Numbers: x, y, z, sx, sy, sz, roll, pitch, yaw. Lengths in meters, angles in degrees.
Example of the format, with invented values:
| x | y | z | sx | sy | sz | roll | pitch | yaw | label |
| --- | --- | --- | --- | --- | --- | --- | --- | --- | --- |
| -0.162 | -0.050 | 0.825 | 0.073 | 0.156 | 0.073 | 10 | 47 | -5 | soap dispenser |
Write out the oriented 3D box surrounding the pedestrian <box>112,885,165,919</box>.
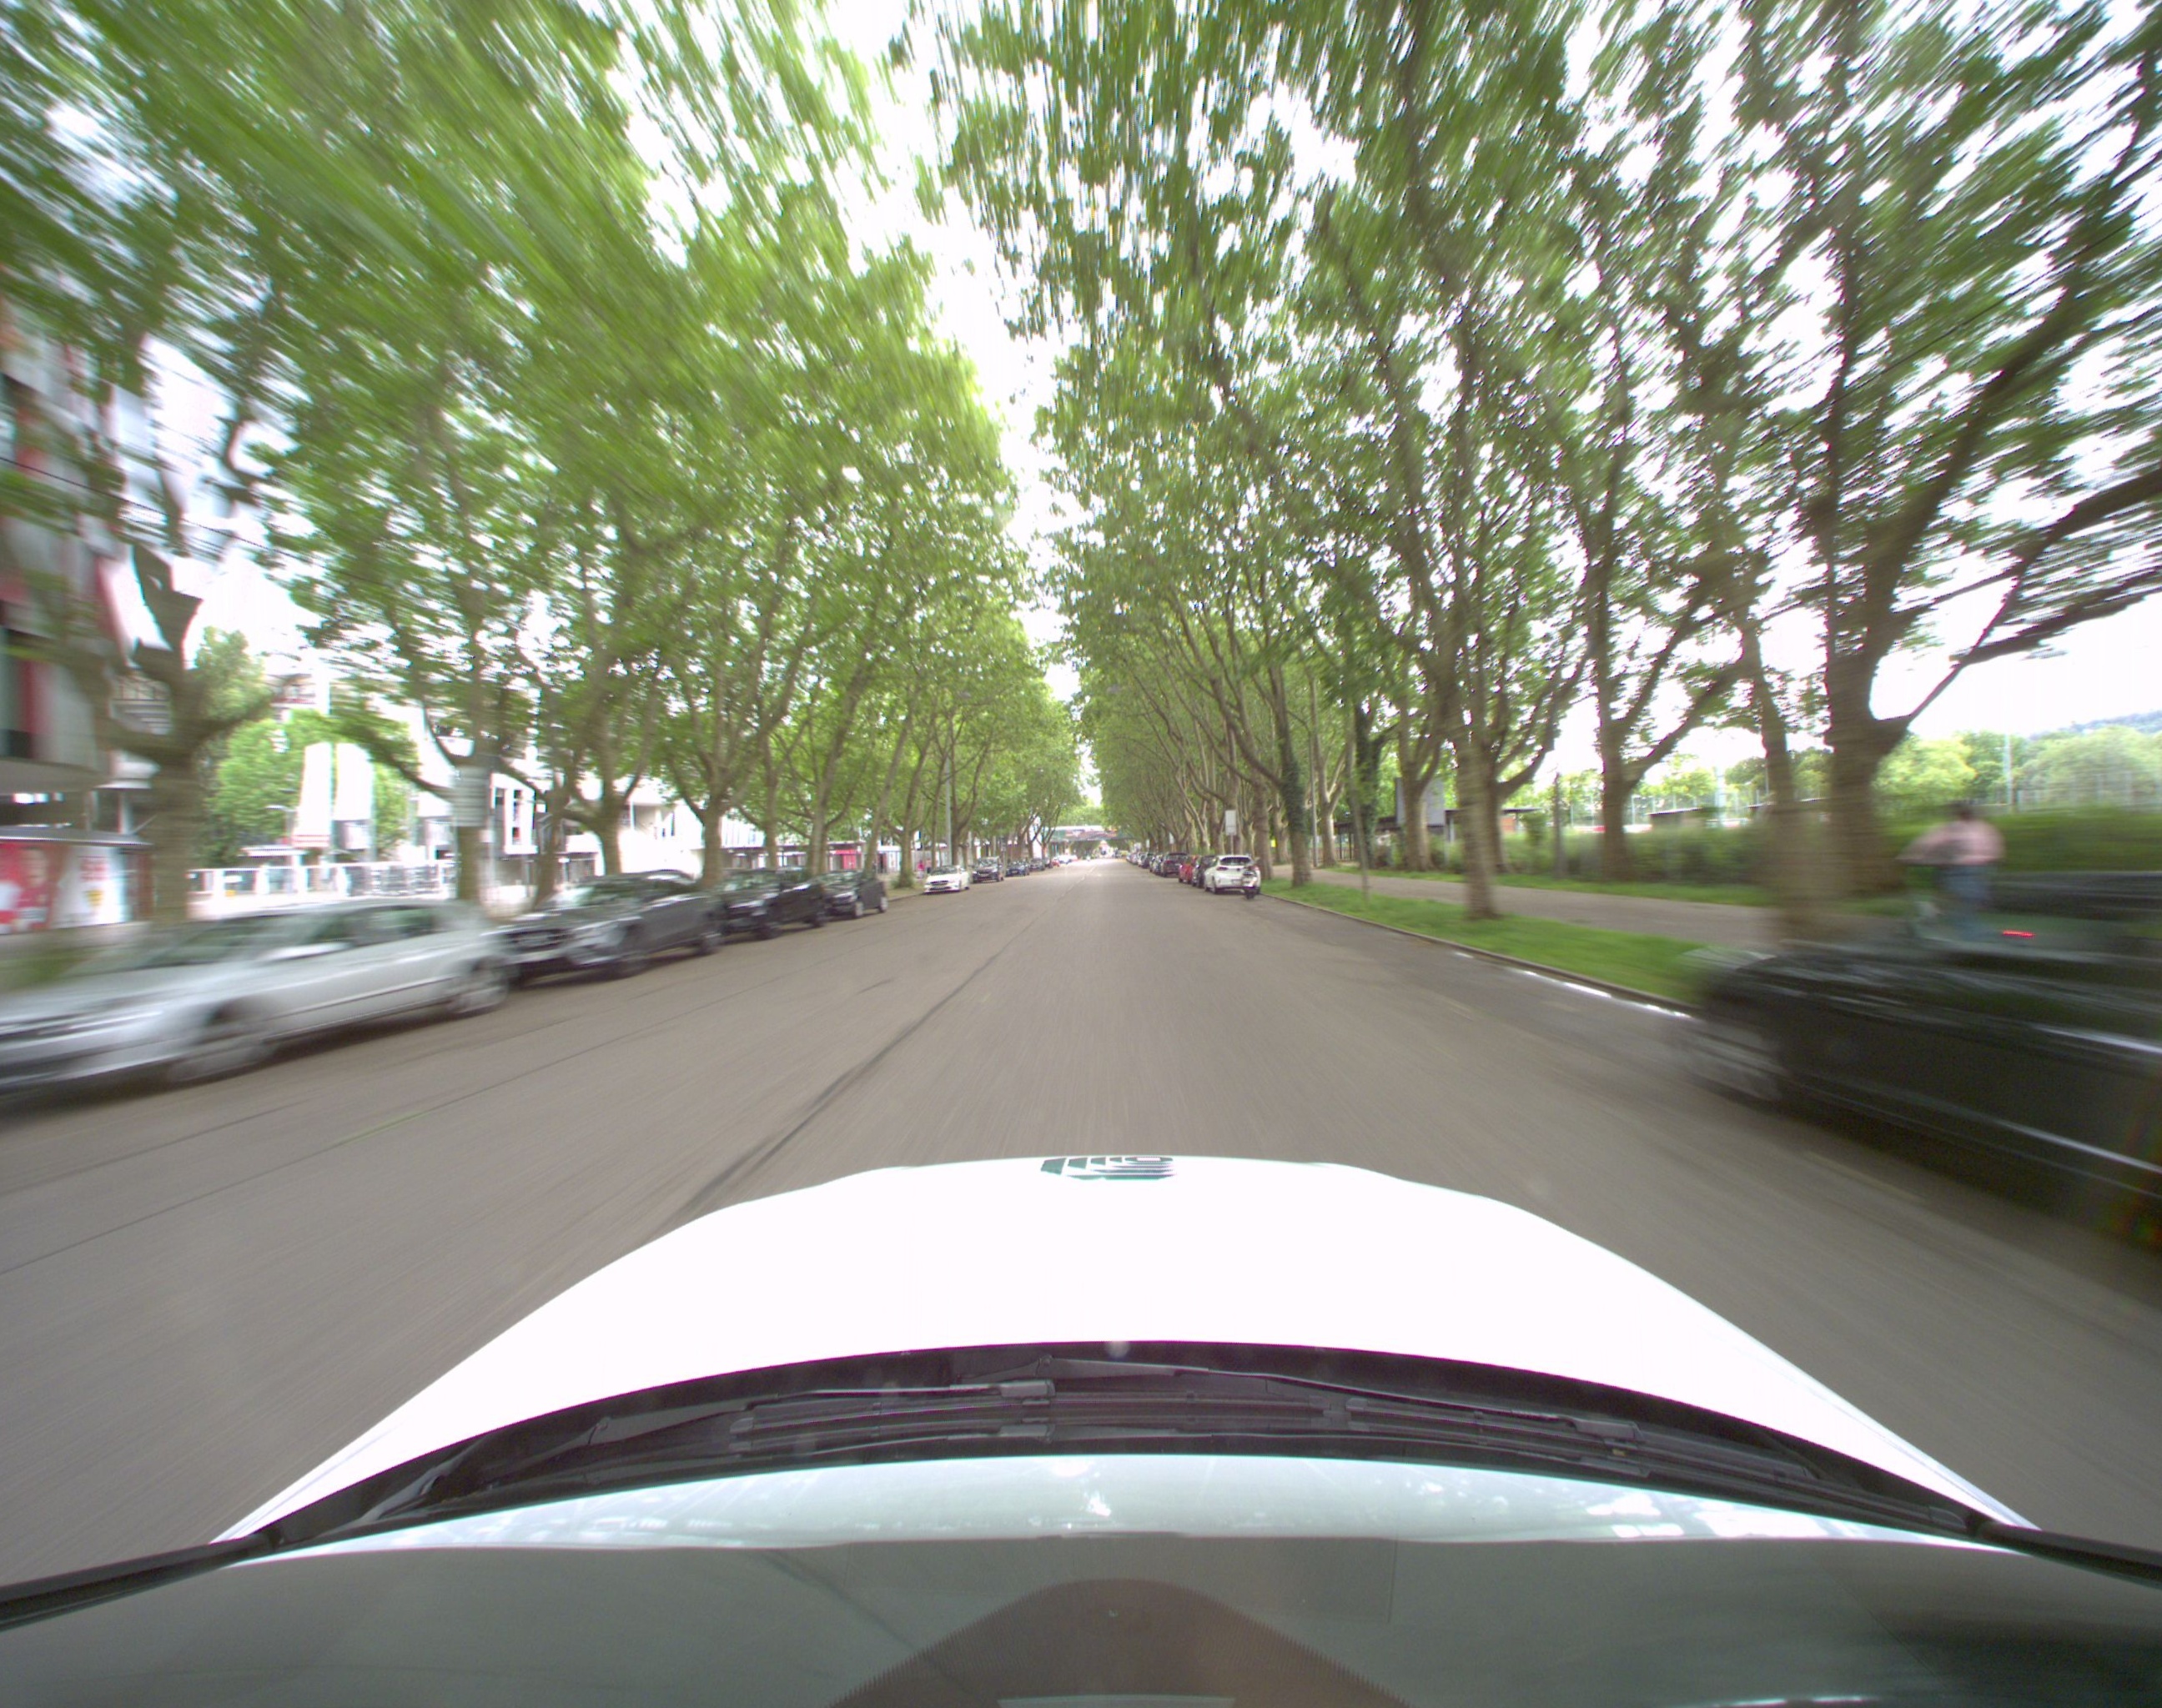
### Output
| x | y | z | sx | sy | sz | roll | pitch | yaw | label |
| --- | --- | --- | --- | --- | --- | --- | --- | --- | --- |
| -43.082 | 2.195 | 37.239 | 1.041 | 1.462 | 1.110 | -2 | 0 | -1 | pedestrian |

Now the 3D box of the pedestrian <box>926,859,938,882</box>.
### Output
| x | y | z | sx | sy | sz | roll | pitch | yaw | label |
| --- | --- | --- | --- | --- | --- | --- | --- | --- | --- |
| -11.902 | 1.335 | 64.944 | 0.572 | 1.770 | 0.771 | -2 | -1 | 16 | pedestrian |

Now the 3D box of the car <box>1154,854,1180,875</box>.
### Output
| x | y | z | sx | sy | sz | roll | pitch | yaw | label |
| --- | --- | --- | --- | --- | --- | --- | --- | --- | --- |
| 6.216 | 0.747 | 59.189 | 1.662 | 1.509 | 4.356 | 0 | 0 | 2 | car |

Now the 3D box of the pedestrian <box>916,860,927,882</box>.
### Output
| x | y | z | sx | sy | sz | roll | pitch | yaw | label |
| --- | --- | --- | --- | --- | --- | --- | --- | --- | --- |
| -12.705 | 1.332 | 64.864 | 0.570 | 1.742 | 0.771 | -2 | -1 | 16 | pedestrian |

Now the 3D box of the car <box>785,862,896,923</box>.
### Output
| x | y | z | sx | sy | sz | roll | pitch | yaw | label |
| --- | --- | --- | --- | --- | --- | --- | --- | --- | --- |
| -7.253 | 1.099 | 25.095 | 1.826 | 1.494 | 4.445 | -5 | 0 | 2 | car |

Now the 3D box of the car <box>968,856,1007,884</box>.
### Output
| x | y | z | sx | sy | sz | roll | pitch | yaw | label |
| --- | --- | --- | --- | --- | --- | --- | --- | --- | --- |
| -6.403 | 1.076 | 56.303 | 1.942 | 1.750 | 4.639 | -4 | 0 | 1 | car |

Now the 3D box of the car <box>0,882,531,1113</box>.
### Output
| x | y | z | sx | sy | sz | roll | pitch | yaw | label |
| --- | --- | --- | --- | --- | --- | --- | --- | --- | --- |
| -7.887 | 1.158 | 8.031 | 1.826 | 1.456 | 4.232 | -5 | 0 | 2 | car |

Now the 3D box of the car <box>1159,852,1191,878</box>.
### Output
| x | y | z | sx | sy | sz | roll | pitch | yaw | label |
| --- | --- | --- | --- | --- | --- | --- | --- | --- | --- |
| 6.090 | 0.687 | 53.118 | 1.749 | 1.620 | 4.441 | 0 | 0 | 2 | car |

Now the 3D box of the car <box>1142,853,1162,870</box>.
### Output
| x | y | z | sx | sy | sz | roll | pitch | yaw | label |
| --- | --- | --- | --- | --- | --- | --- | --- | --- | --- |
| 7.180 | 0.718 | 82.619 | 1.701 | 1.698 | 4.631 | 0 | 0 | 0 | car |

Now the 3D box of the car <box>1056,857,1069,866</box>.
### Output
| x | y | z | sx | sy | sz | roll | pitch | yaw | label |
| --- | --- | --- | --- | --- | --- | --- | --- | --- | --- |
| -3.264 | 1.312 | 146.115 | 2.065 | 1.563 | 4.759 | -2 | 0 | 2 | car |

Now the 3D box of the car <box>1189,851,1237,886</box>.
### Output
| x | y | z | sx | sy | sz | roll | pitch | yaw | label |
| --- | --- | --- | --- | --- | --- | --- | --- | --- | --- |
| 5.919 | 0.625 | 36.960 | 1.723 | 1.470 | 4.083 | 1 | 0 | 3 | car |

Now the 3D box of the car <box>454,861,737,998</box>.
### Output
| x | y | z | sx | sy | sz | roll | pitch | yaw | label |
| --- | --- | --- | --- | --- | --- | --- | --- | --- | --- |
| -7.708 | 1.066 | 13.617 | 1.864 | 1.718 | 4.646 | -5 | 0 | -1 | car |

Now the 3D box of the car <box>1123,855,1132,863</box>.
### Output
| x | y | z | sx | sy | sz | roll | pitch | yaw | label |
| --- | --- | --- | --- | --- | --- | --- | --- | --- | --- |
| 10.233 | 1.062 | 178.709 | 1.840 | 1.783 | 5.213 | -1 | -1 | 2 | car |

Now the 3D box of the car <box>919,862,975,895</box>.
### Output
| x | y | z | sx | sy | sz | roll | pitch | yaw | label |
| --- | --- | --- | --- | --- | --- | --- | --- | --- | --- |
| -6.972 | 1.244 | 42.866 | 1.897 | 1.402 | 4.753 | -5 | 0 | 2 | car |

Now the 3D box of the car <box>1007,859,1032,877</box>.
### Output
| x | y | z | sx | sy | sz | roll | pitch | yaw | label |
| --- | --- | --- | --- | --- | --- | --- | --- | --- | --- |
| -5.622 | 1.270 | 74.352 | 1.718 | 1.486 | 4.577 | -2 | 0 | 2 | car |

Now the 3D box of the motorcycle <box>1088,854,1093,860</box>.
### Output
| x | y | z | sx | sy | sz | roll | pitch | yaw | label |
| --- | --- | --- | --- | --- | --- | --- | --- | --- | --- |
| 1.986 | 0.602 | 168.860 | 0.871 | 1.079 | 3.051 | -2 | 0 | -1 | motorcycle |

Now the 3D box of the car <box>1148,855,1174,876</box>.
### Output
| x | y | z | sx | sy | sz | roll | pitch | yaw | label |
| --- | --- | --- | --- | --- | --- | --- | --- | --- | --- |
| 6.745 | 0.946 | 69.193 | 1.771 | 1.673 | 4.638 | -2 | 0 | 1 | car |

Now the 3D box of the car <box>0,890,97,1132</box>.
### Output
| x | y | z | sx | sy | sz | roll | pitch | yaw | label |
| --- | --- | --- | --- | --- | --- | --- | --- | --- | --- |
| -8.115 | 1.093 | 3.169 | 2.075 | 1.530 | 5.150 | -3 | 0 | 3 | car |

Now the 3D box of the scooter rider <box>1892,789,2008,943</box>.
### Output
| x | y | z | sx | sy | sz | roll | pitch | yaw | label |
| --- | --- | --- | --- | --- | --- | --- | --- | --- | --- |
| 10.668 | 0.147 | 10.020 | 0.674 | 1.800 | 0.587 | -4 | 0 | 2 | scooter rider |

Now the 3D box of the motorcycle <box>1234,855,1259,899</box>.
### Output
| x | y | z | sx | sy | sz | roll | pitch | yaw | label |
| --- | --- | --- | --- | --- | --- | --- | --- | --- | --- |
| 5.311 | 0.724 | 26.221 | 0.708 | 1.331 | 1.998 | -1 | 0 | 10 | motorcycle |

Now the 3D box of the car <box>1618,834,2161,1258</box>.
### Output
| x | y | z | sx | sy | sz | roll | pitch | yaw | label |
| --- | --- | --- | --- | --- | --- | --- | --- | --- | --- |
| 4.781 | 0.663 | 3.635 | 1.986 | 1.478 | 4.373 | 0 | 0 | 2 | car |

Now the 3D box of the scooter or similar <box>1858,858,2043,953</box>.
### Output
| x | y | z | sx | sy | sz | roll | pitch | yaw | label |
| --- | --- | --- | --- | --- | --- | --- | --- | --- | --- |
| 10.704 | 0.594 | 10.107 | 0.677 | 1.038 | 1.467 | -5 | 0 | 2 | scooter or similar |

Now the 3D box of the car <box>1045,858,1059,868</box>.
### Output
| x | y | z | sx | sy | sz | roll | pitch | yaw | label |
| --- | --- | --- | --- | --- | --- | --- | --- | --- | --- |
| -4.292 | 1.287 | 120.473 | 1.801 | 1.354 | 4.002 | -2 | 0 | 2 | car |

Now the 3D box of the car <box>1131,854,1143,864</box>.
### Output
| x | y | z | sx | sy | sz | roll | pitch | yaw | label |
| --- | --- | --- | --- | --- | --- | --- | --- | --- | --- |
| 9.079 | 0.756 | 132.381 | 1.796 | 1.555 | 4.001 | -2 | 0 | 1 | car |

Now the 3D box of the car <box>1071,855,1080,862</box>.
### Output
| x | y | z | sx | sy | sz | roll | pitch | yaw | label |
| --- | --- | --- | --- | --- | --- | --- | --- | --- | --- |
| -1.246 | 1.091 | 198.160 | 1.989 | 1.601 | 3.995 | -2 | 0 | -3 | car |

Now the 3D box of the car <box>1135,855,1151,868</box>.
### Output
| x | y | z | sx | sy | sz | roll | pitch | yaw | label |
| --- | --- | --- | --- | --- | --- | --- | --- | --- | --- |
| 8.350 | 1.002 | 109.327 | 1.895 | 1.739 | 4.508 | -2 | 0 | 2 | car |

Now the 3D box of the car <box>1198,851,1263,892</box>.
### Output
| x | y | z | sx | sy | sz | roll | pitch | yaw | label |
| --- | --- | --- | --- | --- | --- | --- | --- | --- | --- |
| 5.673 | 0.633 | 31.278 | 1.729 | 1.438 | 4.123 | -2 | 0 | 0 | car |

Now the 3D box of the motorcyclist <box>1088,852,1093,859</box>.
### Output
| x | y | z | sx | sy | sz | roll | pitch | yaw | label |
| --- | --- | --- | --- | --- | --- | --- | --- | --- | --- |
| 1.968 | 0.268 | 168.951 | 0.868 | 1.480 | 1.264 | -2 | 0 | -2 | motorcyclist |

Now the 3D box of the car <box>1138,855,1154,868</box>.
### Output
| x | y | z | sx | sy | sz | roll | pitch | yaw | label |
| --- | --- | --- | --- | --- | --- | --- | --- | --- | --- |
| 7.624 | 0.882 | 95.592 | 1.701 | 1.427 | 3.891 | 0 | 0 | 2 | car |

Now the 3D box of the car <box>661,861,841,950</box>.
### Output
| x | y | z | sx | sy | sz | roll | pitch | yaw | label |
| --- | --- | --- | --- | --- | --- | --- | --- | --- | --- |
| -7.653 | 1.098 | 19.545 | 1.929 | 1.643 | 4.932 | -5 | 0 | 3 | car |

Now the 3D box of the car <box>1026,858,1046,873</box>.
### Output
| x | y | z | sx | sy | sz | roll | pitch | yaw | label |
| --- | --- | --- | --- | --- | --- | --- | --- | --- | --- |
| -5.042 | 1.281 | 91.931 | 1.871 | 1.527 | 4.153 | -3 | 0 | 2 | car |

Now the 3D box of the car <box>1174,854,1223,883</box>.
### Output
| x | y | z | sx | sy | sz | roll | pitch | yaw | label |
| --- | --- | --- | --- | --- | --- | --- | --- | --- | --- |
| 5.944 | 0.714 | 41.768 | 1.712 | 1.438 | 4.625 | 0 | 0 | -2 | car |
